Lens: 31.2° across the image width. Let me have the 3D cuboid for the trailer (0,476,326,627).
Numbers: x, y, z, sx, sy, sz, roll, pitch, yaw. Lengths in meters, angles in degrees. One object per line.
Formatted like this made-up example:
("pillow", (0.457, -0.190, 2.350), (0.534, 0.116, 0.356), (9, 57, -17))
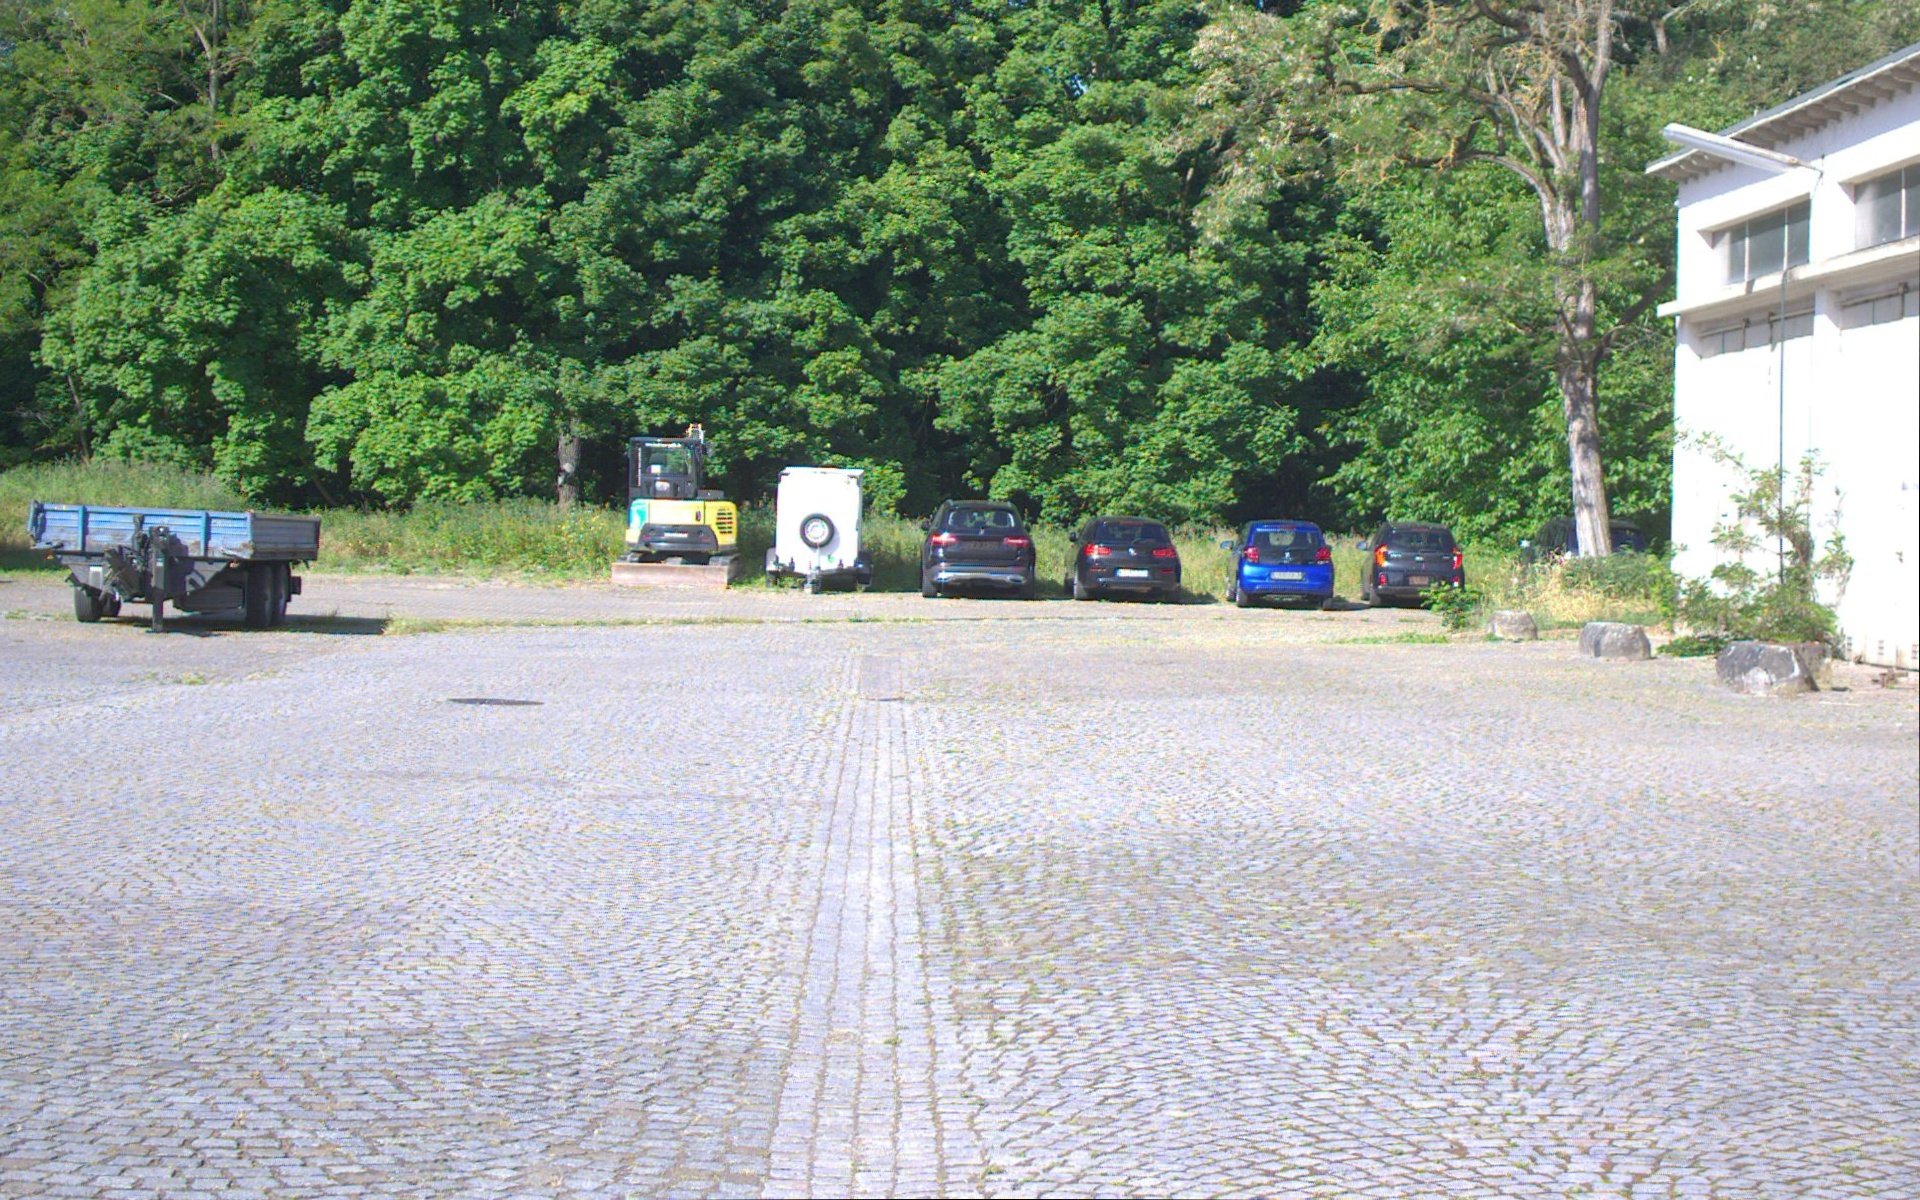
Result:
("trailer", (-9.272, -0.636, 40.358), (2.705, 1.460, 6.249), (3, 2, -3))

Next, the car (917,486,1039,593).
("car", (0.270, -1.050, 58.202), (1.863, 1.583, 4.296), (3, 3, -2))

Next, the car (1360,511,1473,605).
("car", (7.938, -0.760, 60.033), (1.744, 1.431, 4.182), (3, 3, 6))

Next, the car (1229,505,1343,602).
("car", (5.518, -0.827, 58.587), (1.744, 1.431, 4.183), (3, 3, 4))

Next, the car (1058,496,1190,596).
("car", (2.751, -0.957, 58.606), (1.863, 1.465, 4.296), (3, 3, -2))

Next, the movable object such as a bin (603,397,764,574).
("movable object such as a bin", (-4.851, -2.079, 61.076), (2.306, 2.886, 5.752), (3, 3, -1))

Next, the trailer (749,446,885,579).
("trailer", (-2.471, -1.598, 60.529), (2.193, 2.087, 5.752), (3, 3, -2))
